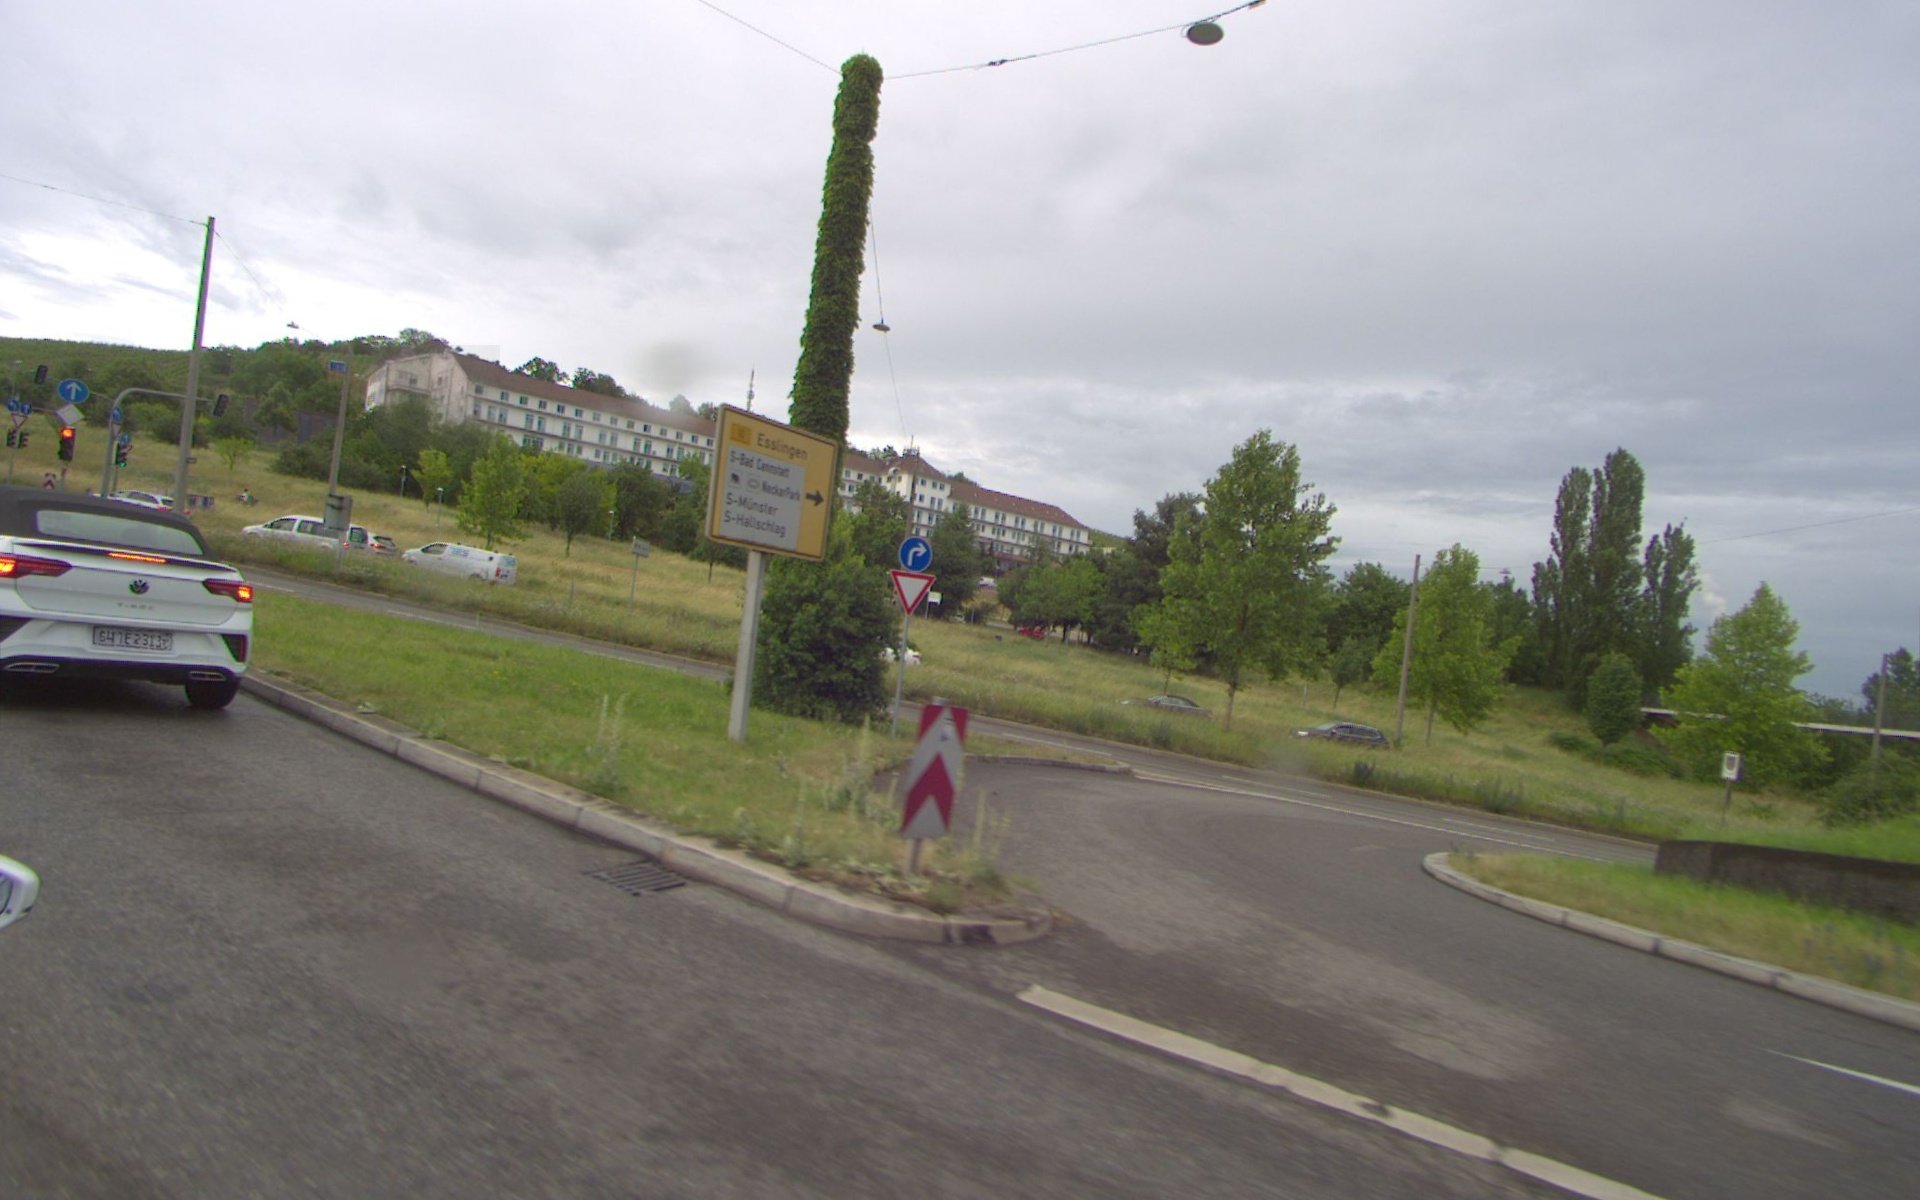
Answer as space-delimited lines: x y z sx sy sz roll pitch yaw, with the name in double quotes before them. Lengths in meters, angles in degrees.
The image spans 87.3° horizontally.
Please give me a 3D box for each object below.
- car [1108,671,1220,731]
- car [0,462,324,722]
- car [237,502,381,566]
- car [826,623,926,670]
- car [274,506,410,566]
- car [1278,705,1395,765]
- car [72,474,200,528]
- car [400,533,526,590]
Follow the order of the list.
"car" 9.363 4.651 46.479 4.583 1.732 1.873 11 1 -1
"car" -7.361 -0.176 8.351 4.061 1.595 1.999 7 -3 36
"car" -27.053 -2.708 41.892 4.482 1.732 1.999 11 1 0
"car" -3.861 2.143 46.640 4.284 1.305 1.874 11 1 3
"car" -27.363 -2.801 44.639 4.583 1.732 1.999 11 1 0
"car" 17.595 6.285 47.166 4.583 1.732 1.873 11 1 0
"car" -40.065 -4.814 48.961 4.480 1.624 2.001 10 -1 3
"car" -23.589 -1.814 47.840 4.806 1.712 2.002 11 -1 4
